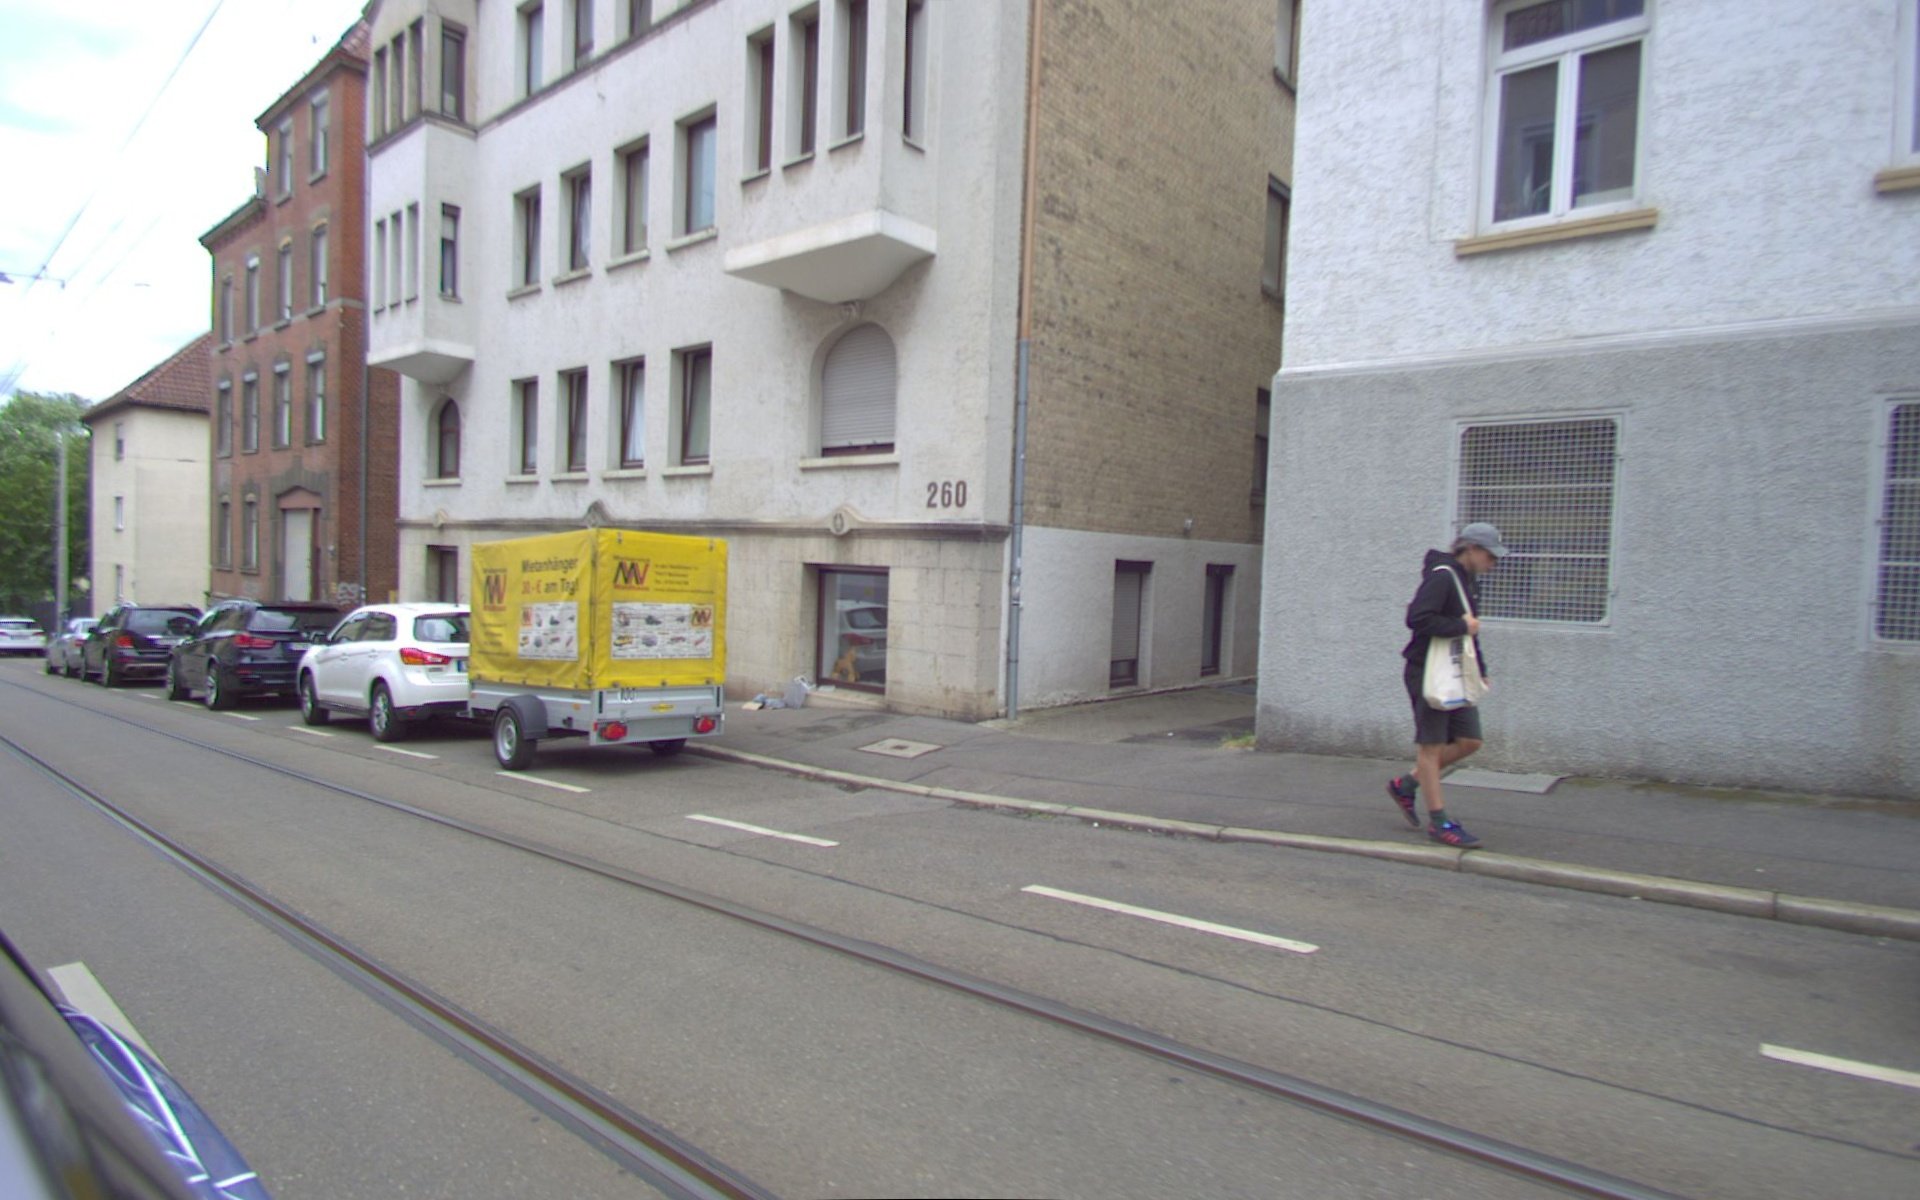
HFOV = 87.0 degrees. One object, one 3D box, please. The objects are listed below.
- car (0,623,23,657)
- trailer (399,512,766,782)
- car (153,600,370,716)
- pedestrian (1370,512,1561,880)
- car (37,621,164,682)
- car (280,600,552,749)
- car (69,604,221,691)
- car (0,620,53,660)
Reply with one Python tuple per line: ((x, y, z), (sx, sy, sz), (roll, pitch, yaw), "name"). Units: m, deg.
((-40.069, 1.629, 41.799), (3.806, 1.379, 1.583), (-2, -4, 42), "car")
((-3.914, 0.441, 10.171), (4.069, 2.172, 1.730), (-1, -3, 42), "trailer")
((-11.760, 0.910, 16.897), (4.890, 1.677, 1.853), (-1, -3, 42), "car")
((2.886, 0.495, 5.774), (0.810, 1.919, 0.583), (0, 5, 41), "pedestrian")
((-22.078, 1.277, 25.921), (4.837, 1.440, 1.808), (-1, -3, 42), "car")
((-7.051, 0.866, 12.929), (4.266, 1.606, 1.679), (-1, -3, 42), "car")
((-18.088, 1.021, 22.376), (4.911, 1.731, 1.808), (-1, -3, 42), "car")
((-36.436, 1.510, 38.720), (4.622, 1.440, 1.809), (-1, -4, 39), "car")
